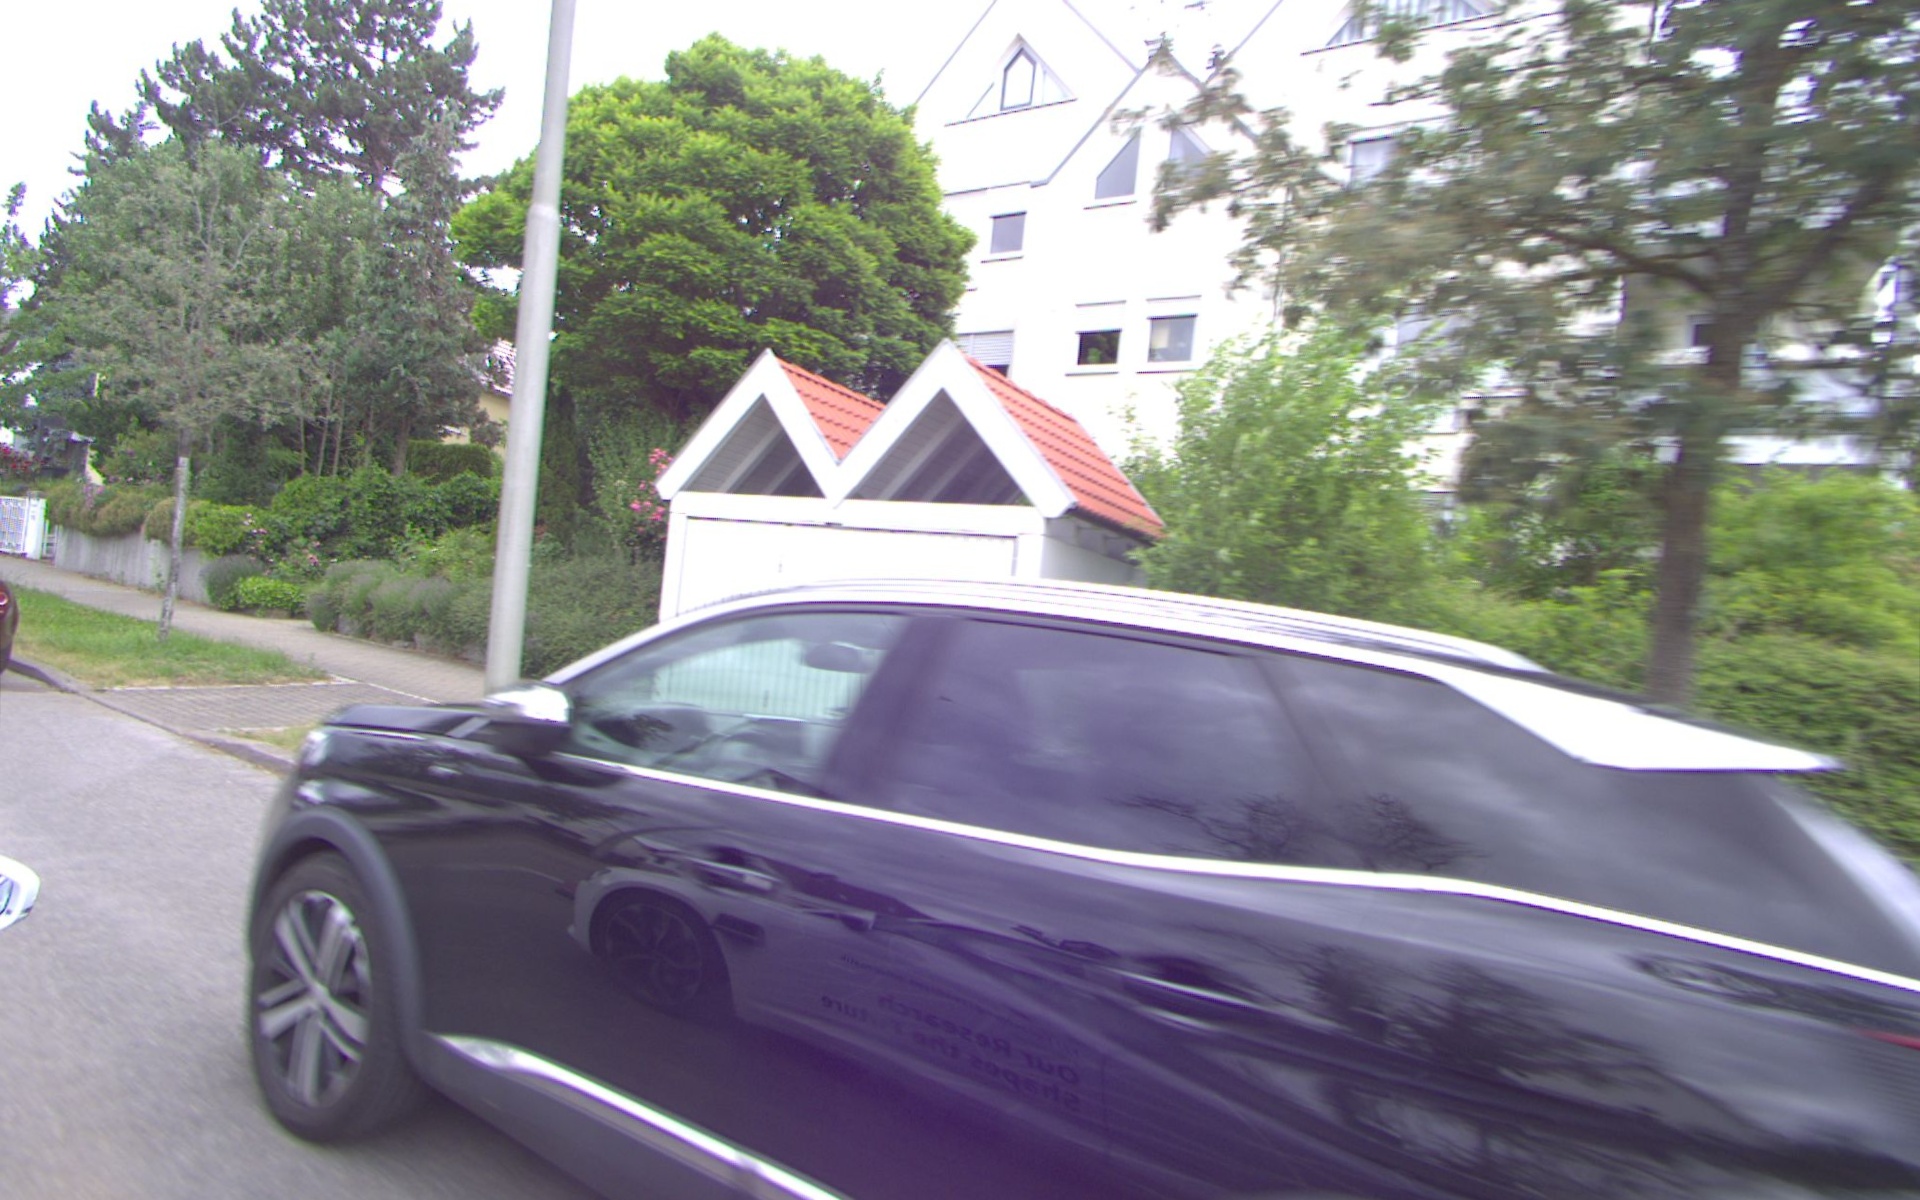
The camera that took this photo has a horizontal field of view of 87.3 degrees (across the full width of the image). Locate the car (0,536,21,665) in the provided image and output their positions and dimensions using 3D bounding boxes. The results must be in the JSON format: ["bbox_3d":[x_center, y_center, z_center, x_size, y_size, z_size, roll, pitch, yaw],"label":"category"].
[{"bbox_3d":[-9.695,-0.145,8.491,3.819,1.249,1.485,7,-3,31],"label":"car"}]

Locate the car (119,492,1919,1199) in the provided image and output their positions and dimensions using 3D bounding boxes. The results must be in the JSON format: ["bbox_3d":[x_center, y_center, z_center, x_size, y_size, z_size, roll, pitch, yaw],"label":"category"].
[{"bbox_3d":[-0.297,0.763,2.720,4.041,1.627,1.692,6,-2,31],"label":"car"}]

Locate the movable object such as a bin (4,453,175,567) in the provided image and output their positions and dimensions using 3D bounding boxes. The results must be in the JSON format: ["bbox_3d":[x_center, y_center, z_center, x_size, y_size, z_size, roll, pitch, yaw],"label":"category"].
[{"bbox_3d":[-19.113,-1.939,22.157,1.319,2.036,2.318,7,-2,26],"label":"movable object such as a bin"}]
